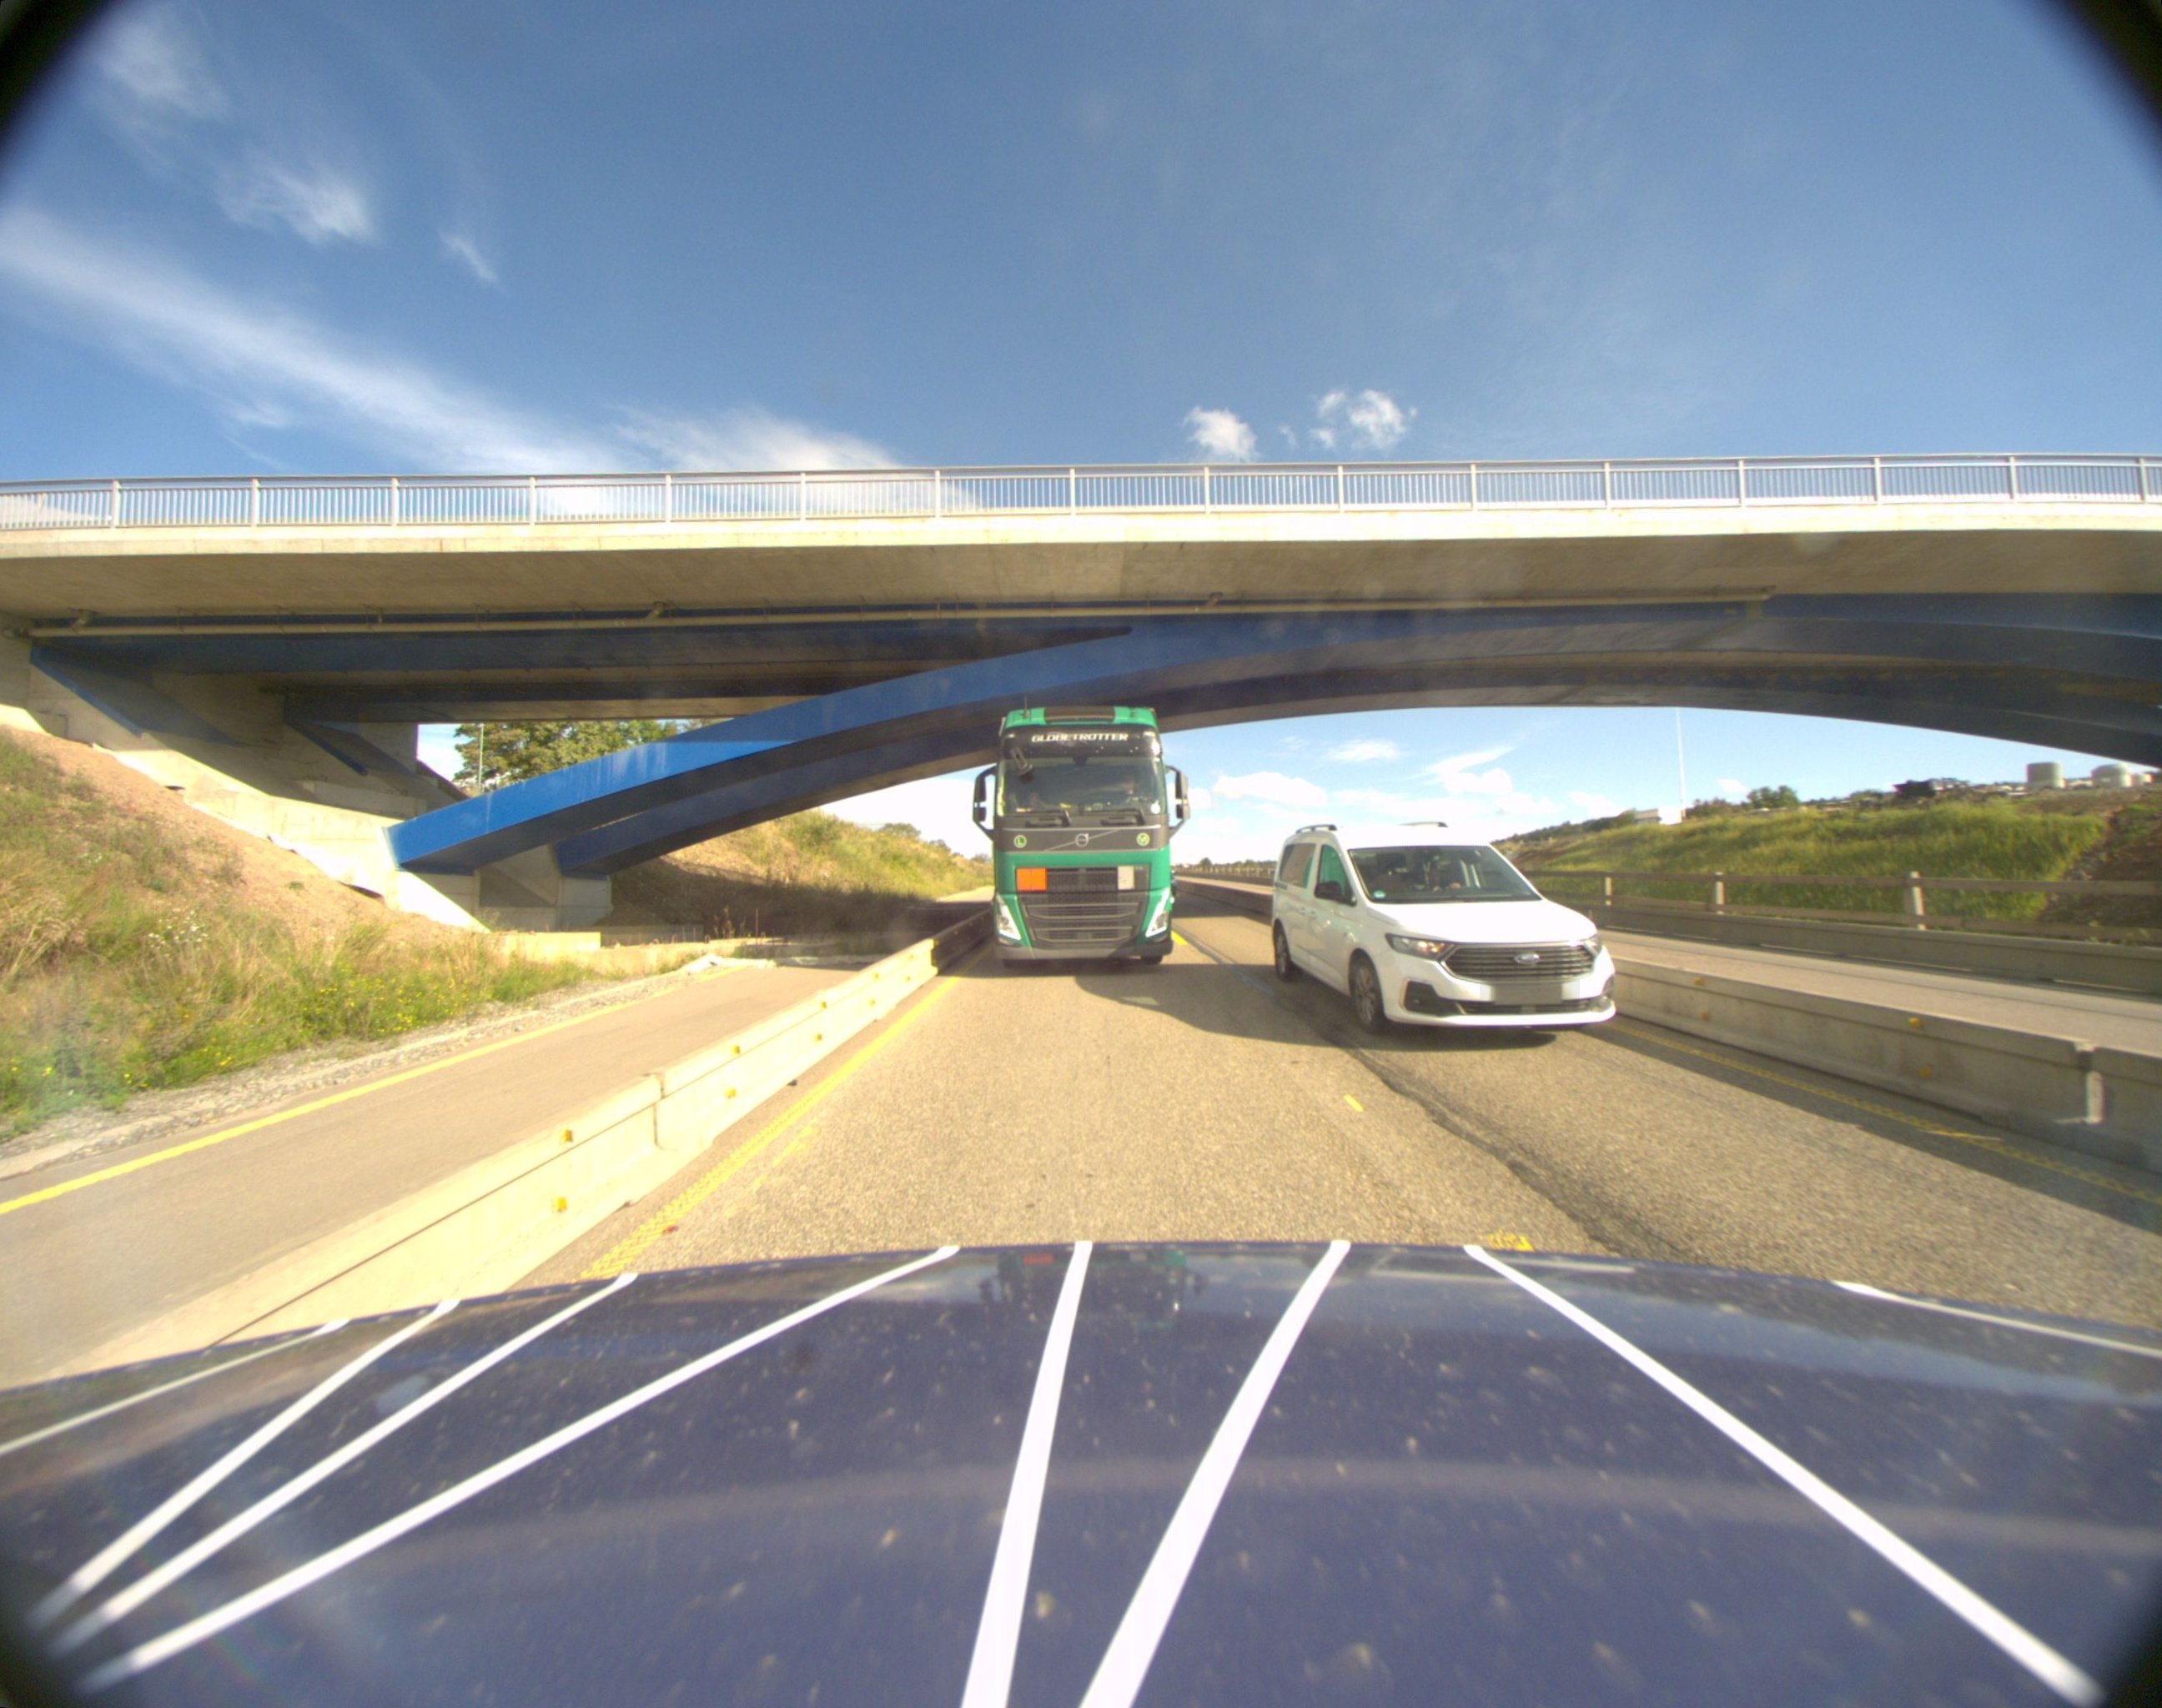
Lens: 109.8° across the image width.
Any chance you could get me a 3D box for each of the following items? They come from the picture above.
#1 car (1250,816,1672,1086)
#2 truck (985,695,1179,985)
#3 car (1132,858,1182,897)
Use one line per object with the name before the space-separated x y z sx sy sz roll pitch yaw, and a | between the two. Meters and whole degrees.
car | 3.173 0.699 7.572 1.828 1.813 4.456 -3 0 -1
truck | 0.007 -0.184 14.513 2.546 3.899 8.279 -1 0 0
car | 3.186 0.955 32.398 1.719 1.499 4.000 -2 0 1
